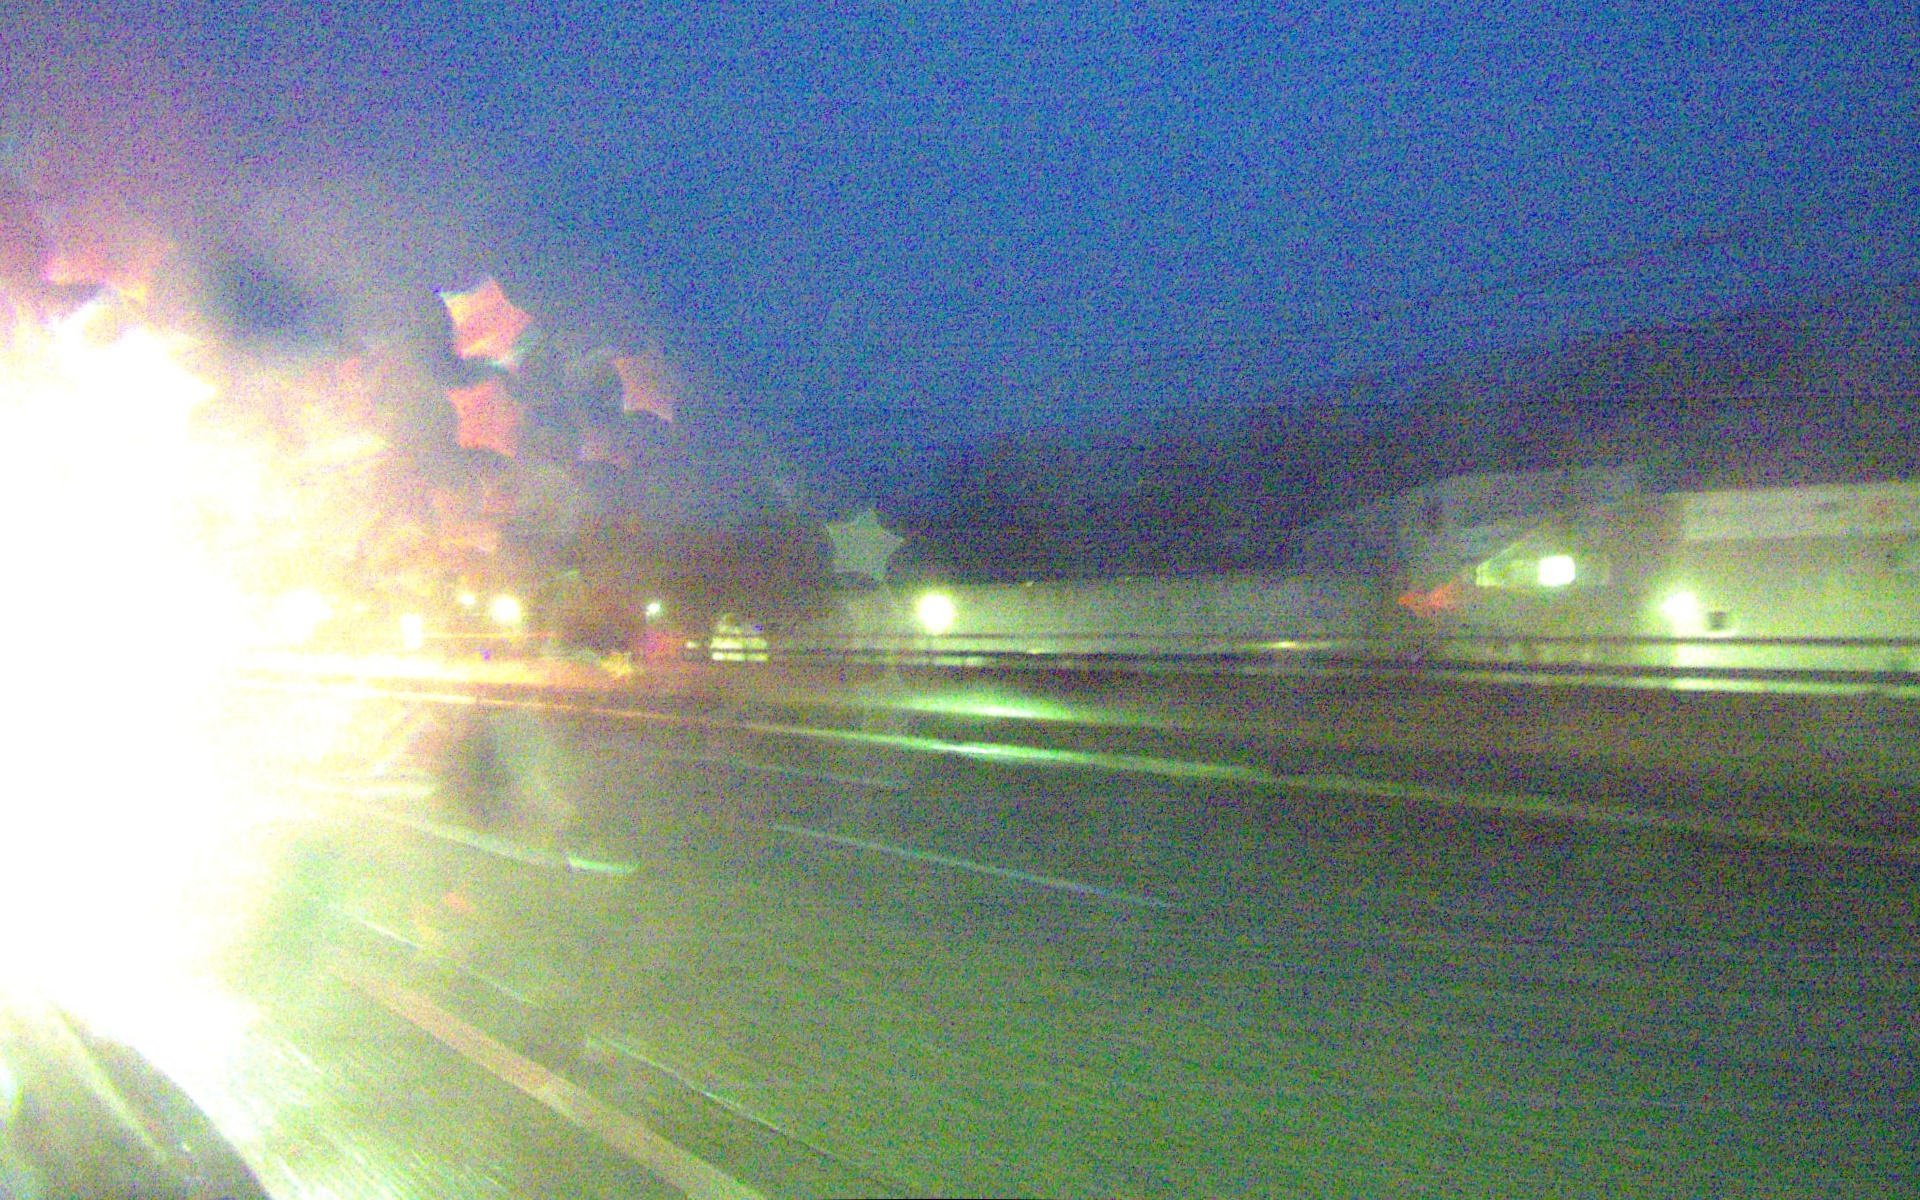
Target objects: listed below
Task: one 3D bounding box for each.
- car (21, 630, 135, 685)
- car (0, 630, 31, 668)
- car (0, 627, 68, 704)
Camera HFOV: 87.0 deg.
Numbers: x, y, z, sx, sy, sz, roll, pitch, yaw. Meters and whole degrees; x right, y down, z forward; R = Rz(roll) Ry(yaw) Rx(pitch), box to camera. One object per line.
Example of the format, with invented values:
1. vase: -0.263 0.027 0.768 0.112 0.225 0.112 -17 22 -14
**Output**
1. car: -26.674 1.687 30.568 4.541 1.455 1.899 -2 0 40
2. car: -40.015 2.012 41.560 4.986 1.460 2.057 -2 0 39
3. car: -20.402 1.340 21.322 4.288 1.445 1.678 -1 1 39
